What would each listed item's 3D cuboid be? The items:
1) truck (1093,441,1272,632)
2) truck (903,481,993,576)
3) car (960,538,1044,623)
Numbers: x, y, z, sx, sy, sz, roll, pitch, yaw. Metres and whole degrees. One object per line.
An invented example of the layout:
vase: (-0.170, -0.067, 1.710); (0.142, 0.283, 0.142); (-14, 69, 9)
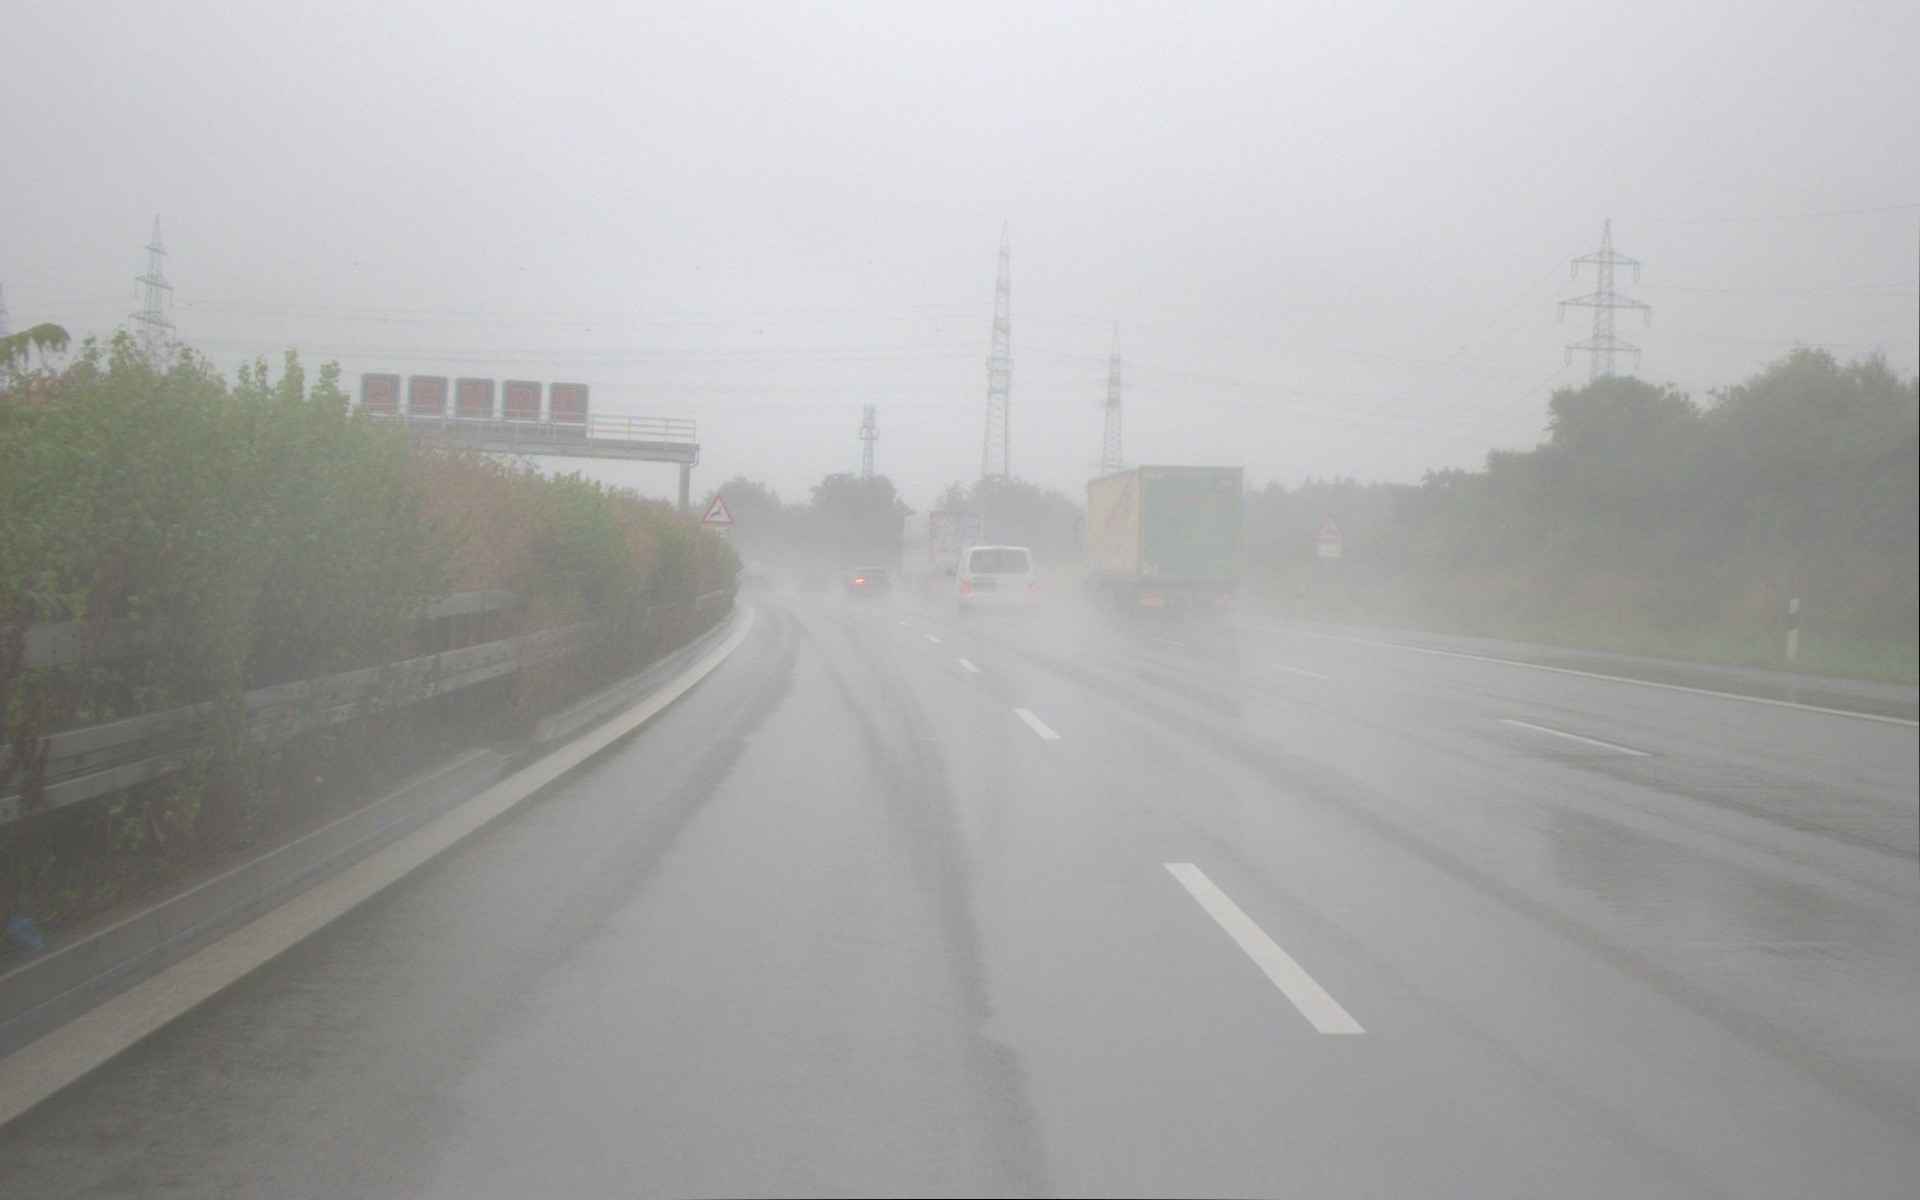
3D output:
truck: (5.726, -1.610, 91.688); (4.189, 4.614, 16.104); (1, 0, 2)
truck: (-0.619, -3.325, 160.723); (3.232, 4.297, 8.839); (0, 1, -6)
car: (1.060, -0.506, 84.450); (1.993, 2.007, 4.000); (1, 1, 1)
